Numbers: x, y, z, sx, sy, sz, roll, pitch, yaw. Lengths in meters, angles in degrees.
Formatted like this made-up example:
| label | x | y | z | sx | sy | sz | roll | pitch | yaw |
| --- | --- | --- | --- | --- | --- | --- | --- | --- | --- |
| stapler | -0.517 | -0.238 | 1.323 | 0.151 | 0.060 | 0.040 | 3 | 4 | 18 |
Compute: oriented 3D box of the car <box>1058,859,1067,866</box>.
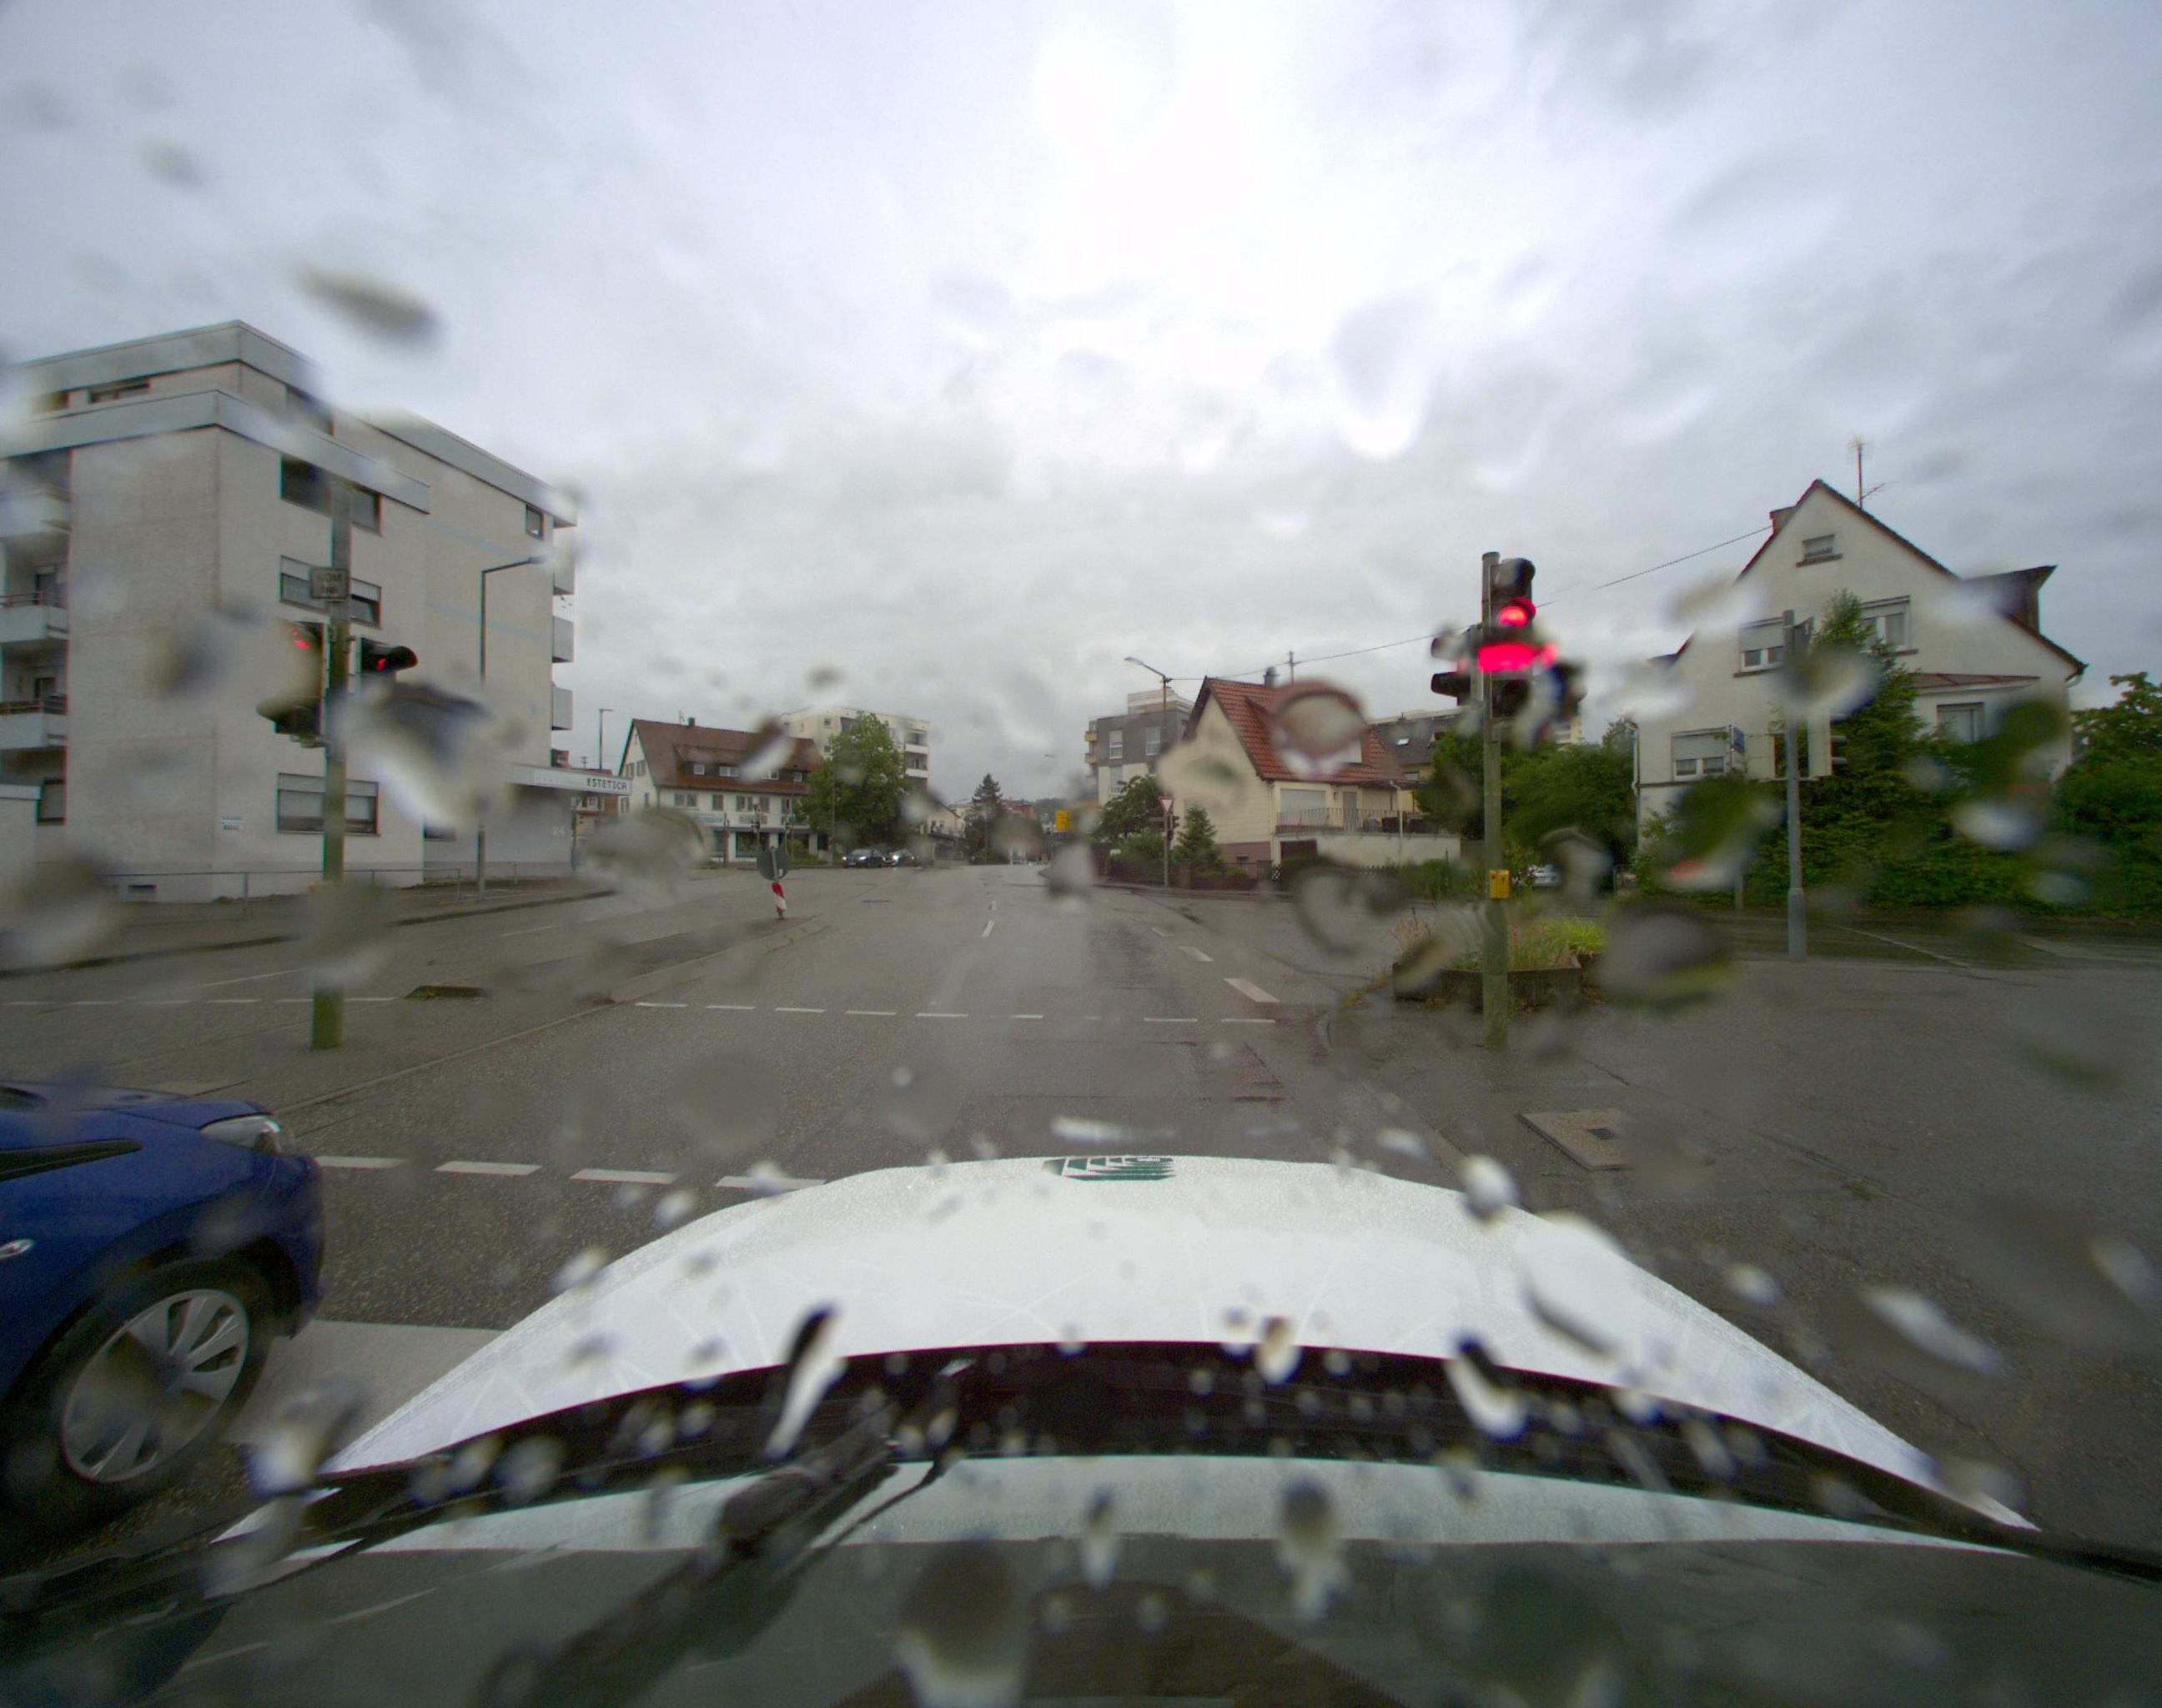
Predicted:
| label | x | y | z | sx | sy | sz | roll | pitch | yaw |
| --- | --- | --- | --- | --- | --- | --- | --- | --- | --- |
| car | -4.255 | 1.982 | 190.037 | 1.805 | 1.486 | 4.192 | -1 | 0 | 3 |

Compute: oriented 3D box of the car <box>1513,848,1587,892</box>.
| label | x | y | z | sx | sy | sz | roll | pitch | yaw |
| --- | --- | --- | --- | --- | --- | --- | --- | --- | --- |
| car | 17.148 | 0.528 | 29.698 | 1.723 | 1.514 | 4.025 | 0 | 0 | 39 |

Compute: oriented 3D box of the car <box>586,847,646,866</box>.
| label | x | y | z | sx | sy | sz | roll | pitch | yaw |
| --- | --- | --- | --- | --- | --- | --- | --- | --- | --- |
| car | -38.405 | 0.185 | 67.339 | 3.988 | 1.572 | 1.850 | 0 | 0 | -42 |

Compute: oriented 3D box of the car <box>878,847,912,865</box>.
| label | x | y | z | sx | sy | sz | roll | pitch | yaw |
| --- | --- | --- | --- | --- | --- | --- | --- | --- | --- |
| car | -15.089 | 0.128 | 66.341 | 1.708 | 1.387 | 4.022 | 0 | 0 | 2 |

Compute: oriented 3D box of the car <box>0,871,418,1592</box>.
| label | x | y | z | sx | sy | sz | roll | pitch | yaw |
| --- | --- | --- | --- | --- | --- | --- | --- | --- | --- |
| car | -2.975 | 0.774 | 0.989 | 1.572 | 1.410 | 3.272 | 0 | 0 | 2 |

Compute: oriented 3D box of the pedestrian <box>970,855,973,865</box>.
| label | x | y | z | sx | sy | sz | roll | pitch | yaw |
| --- | --- | --- | --- | --- | --- | --- | --- | --- | --- |
| pedestrian | -18.371 | 0.937 | 136.585 | 0.494 | 1.658 | 0.435 | 0 | 0 | 7 |

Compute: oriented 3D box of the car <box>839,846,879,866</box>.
| label | x | y | z | sx | sy | sz | roll | pitch | yaw |
| --- | --- | --- | --- | --- | --- | --- | --- | --- | --- |
| car | -16.055 | 0.120 | 59.023 | 1.772 | 1.420 | 3.832 | 0 | 0 | 2 |

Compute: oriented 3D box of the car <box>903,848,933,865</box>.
| label | x | y | z | sx | sy | sz | roll | pitch | yaw |
| --- | --- | --- | --- | --- | --- | --- | --- | --- | --- |
| car | -14.432 | 0.200 | 72.306 | 1.772 | 1.420 | 3.832 | 0 | 0 | 2 |
